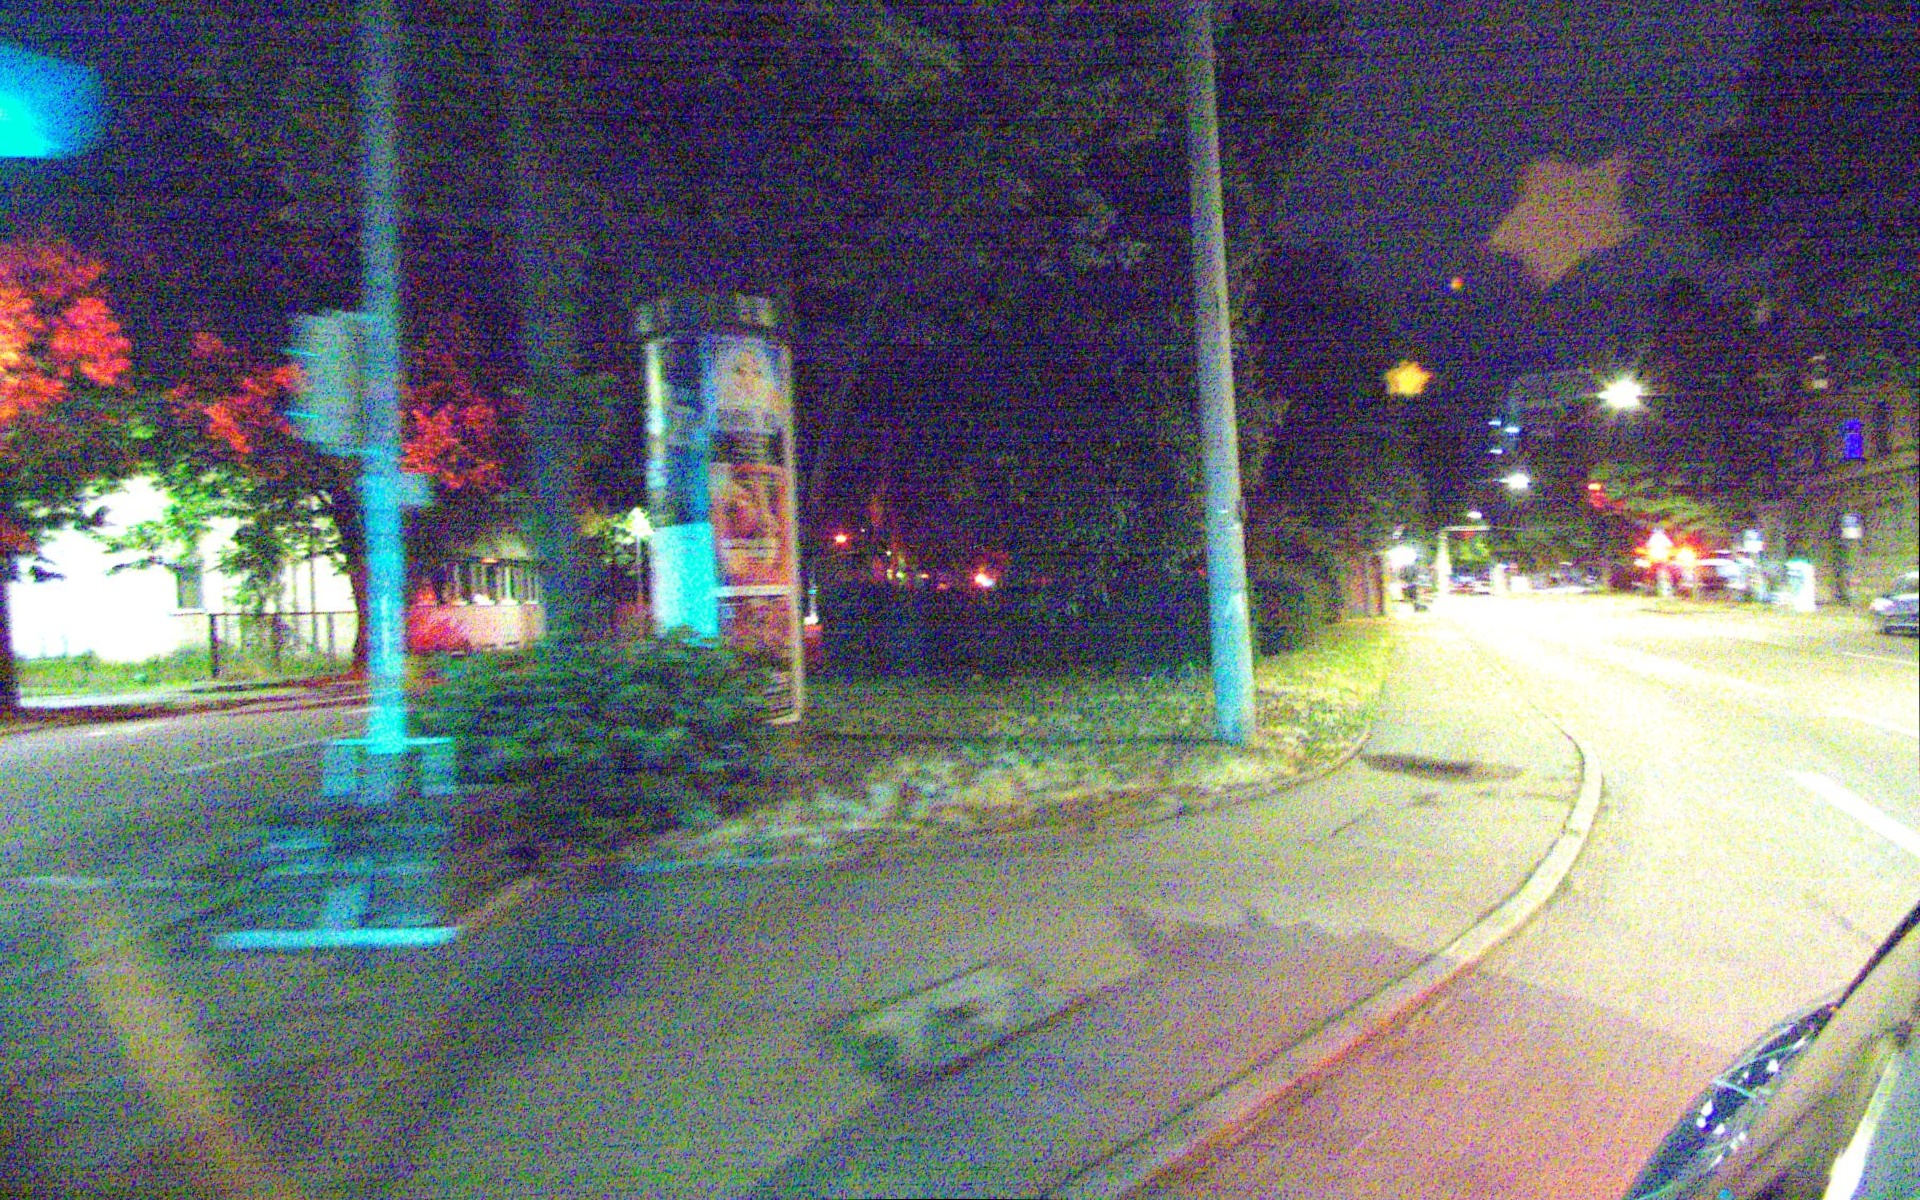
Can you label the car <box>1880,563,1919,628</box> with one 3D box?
[{"bbox_3d":[22.617,-0.128,22.890,1.616,1.482,3.486,-2,0,24],"label":"car"}]
